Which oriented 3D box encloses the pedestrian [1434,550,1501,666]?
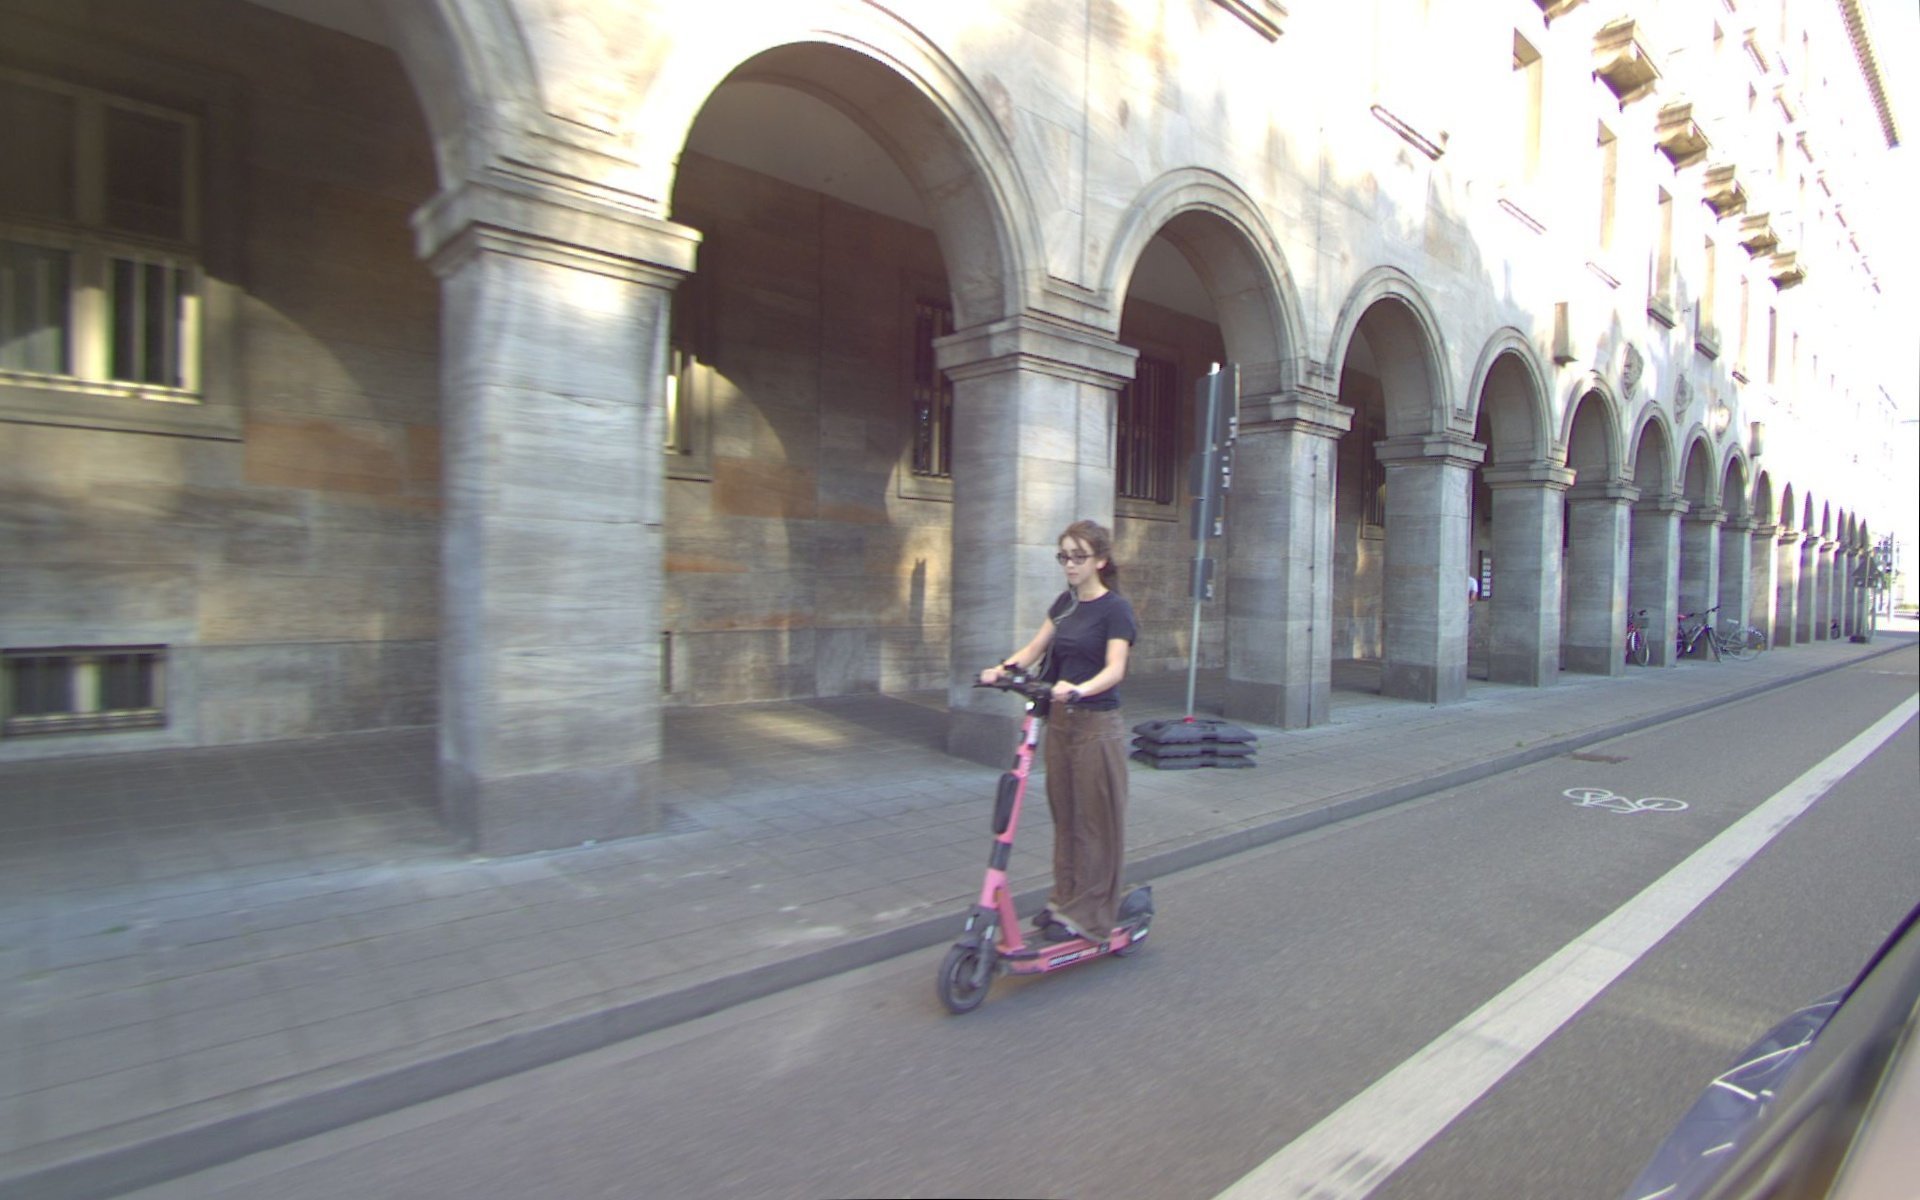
[{"bbox_3d":[8.426,0.124,16.802,0.948,1.855,0.630,1,2,-42],"label":"pedestrian"}]

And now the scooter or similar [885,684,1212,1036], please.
[{"bbox_3d":[0.340,0.886,3.805,1.095,1.044,0.557,0,1,-32],"label":"scooter or similar"}]

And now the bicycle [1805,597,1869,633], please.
[{"bbox_3d":[31.270,0.523,36.119,0.651,1.147,1.715,2,2,-2],"label":"bicycle"}]

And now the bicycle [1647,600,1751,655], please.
[{"bbox_3d":[15.715,0.575,21.552,1.681,1.063,0.612,2,2,2],"label":"bicycle"}]

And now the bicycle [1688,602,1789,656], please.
[{"bbox_3d":[17.348,0.635,22.595,1.702,1.063,0.521,4,3,34],"label":"bicycle"}]

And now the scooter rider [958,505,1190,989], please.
[{"bbox_3d":[0.425,0.496,3.859,0.637,1.652,0.563,1,1,-32],"label":"scooter rider"}]

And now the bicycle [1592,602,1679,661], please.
[{"bbox_3d":[12.683,0.592,18.989,1.677,1.063,0.473,1,2,-23],"label":"bicycle"}]
